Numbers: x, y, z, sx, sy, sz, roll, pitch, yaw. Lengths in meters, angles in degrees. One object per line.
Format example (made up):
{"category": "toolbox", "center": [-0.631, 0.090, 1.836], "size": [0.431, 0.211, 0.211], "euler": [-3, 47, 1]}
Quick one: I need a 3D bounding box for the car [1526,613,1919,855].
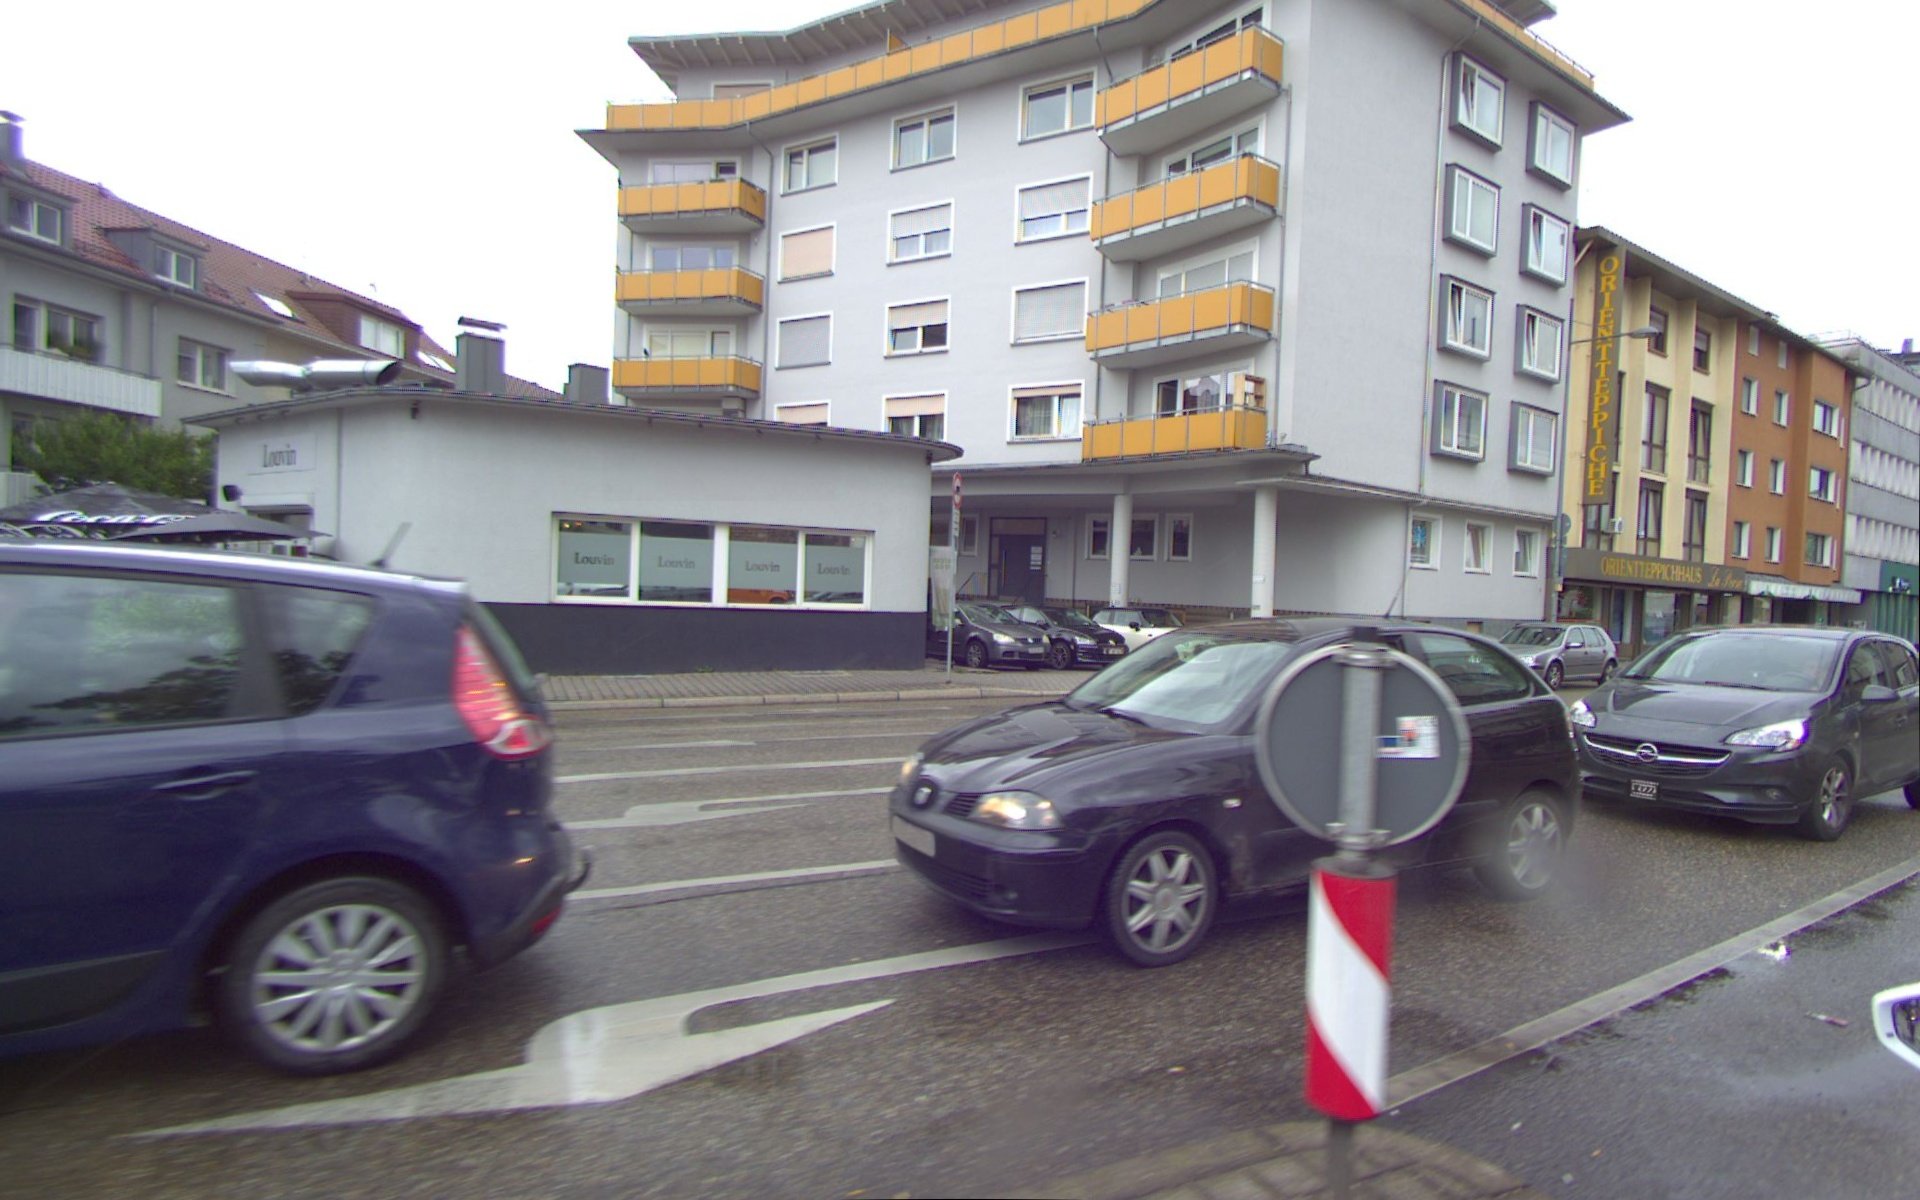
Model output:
{"category": "car", "center": [6.471, 0.903, 8.131], "size": [3.947, 1.473, 1.634], "euler": [1, 1, -33]}

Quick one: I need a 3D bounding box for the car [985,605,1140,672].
{"category": "car", "center": [2.326, 0.877, 23.553], "size": [1.621, 1.439, 3.734], "euler": [2, -2, -34]}

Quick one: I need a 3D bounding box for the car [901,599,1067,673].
{"category": "car", "center": [0.442, 0.794, 22.056], "size": [1.779, 1.439, 3.789], "euler": [3, -3, -34]}

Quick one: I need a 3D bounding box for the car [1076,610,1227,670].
{"category": "car", "center": [4.598, 0.959, 24.522], "size": [1.481, 1.356, 3.597], "euler": [2, -2, -36]}

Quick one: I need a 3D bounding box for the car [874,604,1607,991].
{"category": "car", "center": [1.542, 0.747, 5.282], "size": [3.681, 1.416, 1.549], "euler": [0, 0, -28]}

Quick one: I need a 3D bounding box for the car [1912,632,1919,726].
{"category": "car", "center": [17.132, 1.303, 16.449], "size": [4.377, 1.459, 1.718], "euler": [2, 0, -40]}

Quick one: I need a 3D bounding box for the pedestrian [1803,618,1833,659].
{"category": "pedestrian", "center": [37.730, 1.689, 44.166], "size": [0.899, 1.698, 0.625], "euler": [2, 5, -36]}

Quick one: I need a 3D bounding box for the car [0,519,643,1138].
{"category": "car", "center": [-3.323, 0.595, 3.218], "size": [4.159, 1.636, 1.748], "euler": [1, 0, -29]}

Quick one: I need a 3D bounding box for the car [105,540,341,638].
{"category": "car", "center": [-21.119, -0.288, 29.154], "size": [2.358, 2.543, 5.261], "euler": [1, 0, 12]}

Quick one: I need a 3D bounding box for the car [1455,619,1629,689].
{"category": "car", "center": [13.022, 1.215, 22.401], "size": [4.068, 1.384, 1.718], "euler": [3, -1, -34]}

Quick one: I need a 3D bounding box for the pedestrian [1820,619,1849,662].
{"category": "pedestrian", "center": [38.004, 1.764, 43.663], "size": [0.818, 1.812, 0.571], "euler": [2, 5, -35]}
